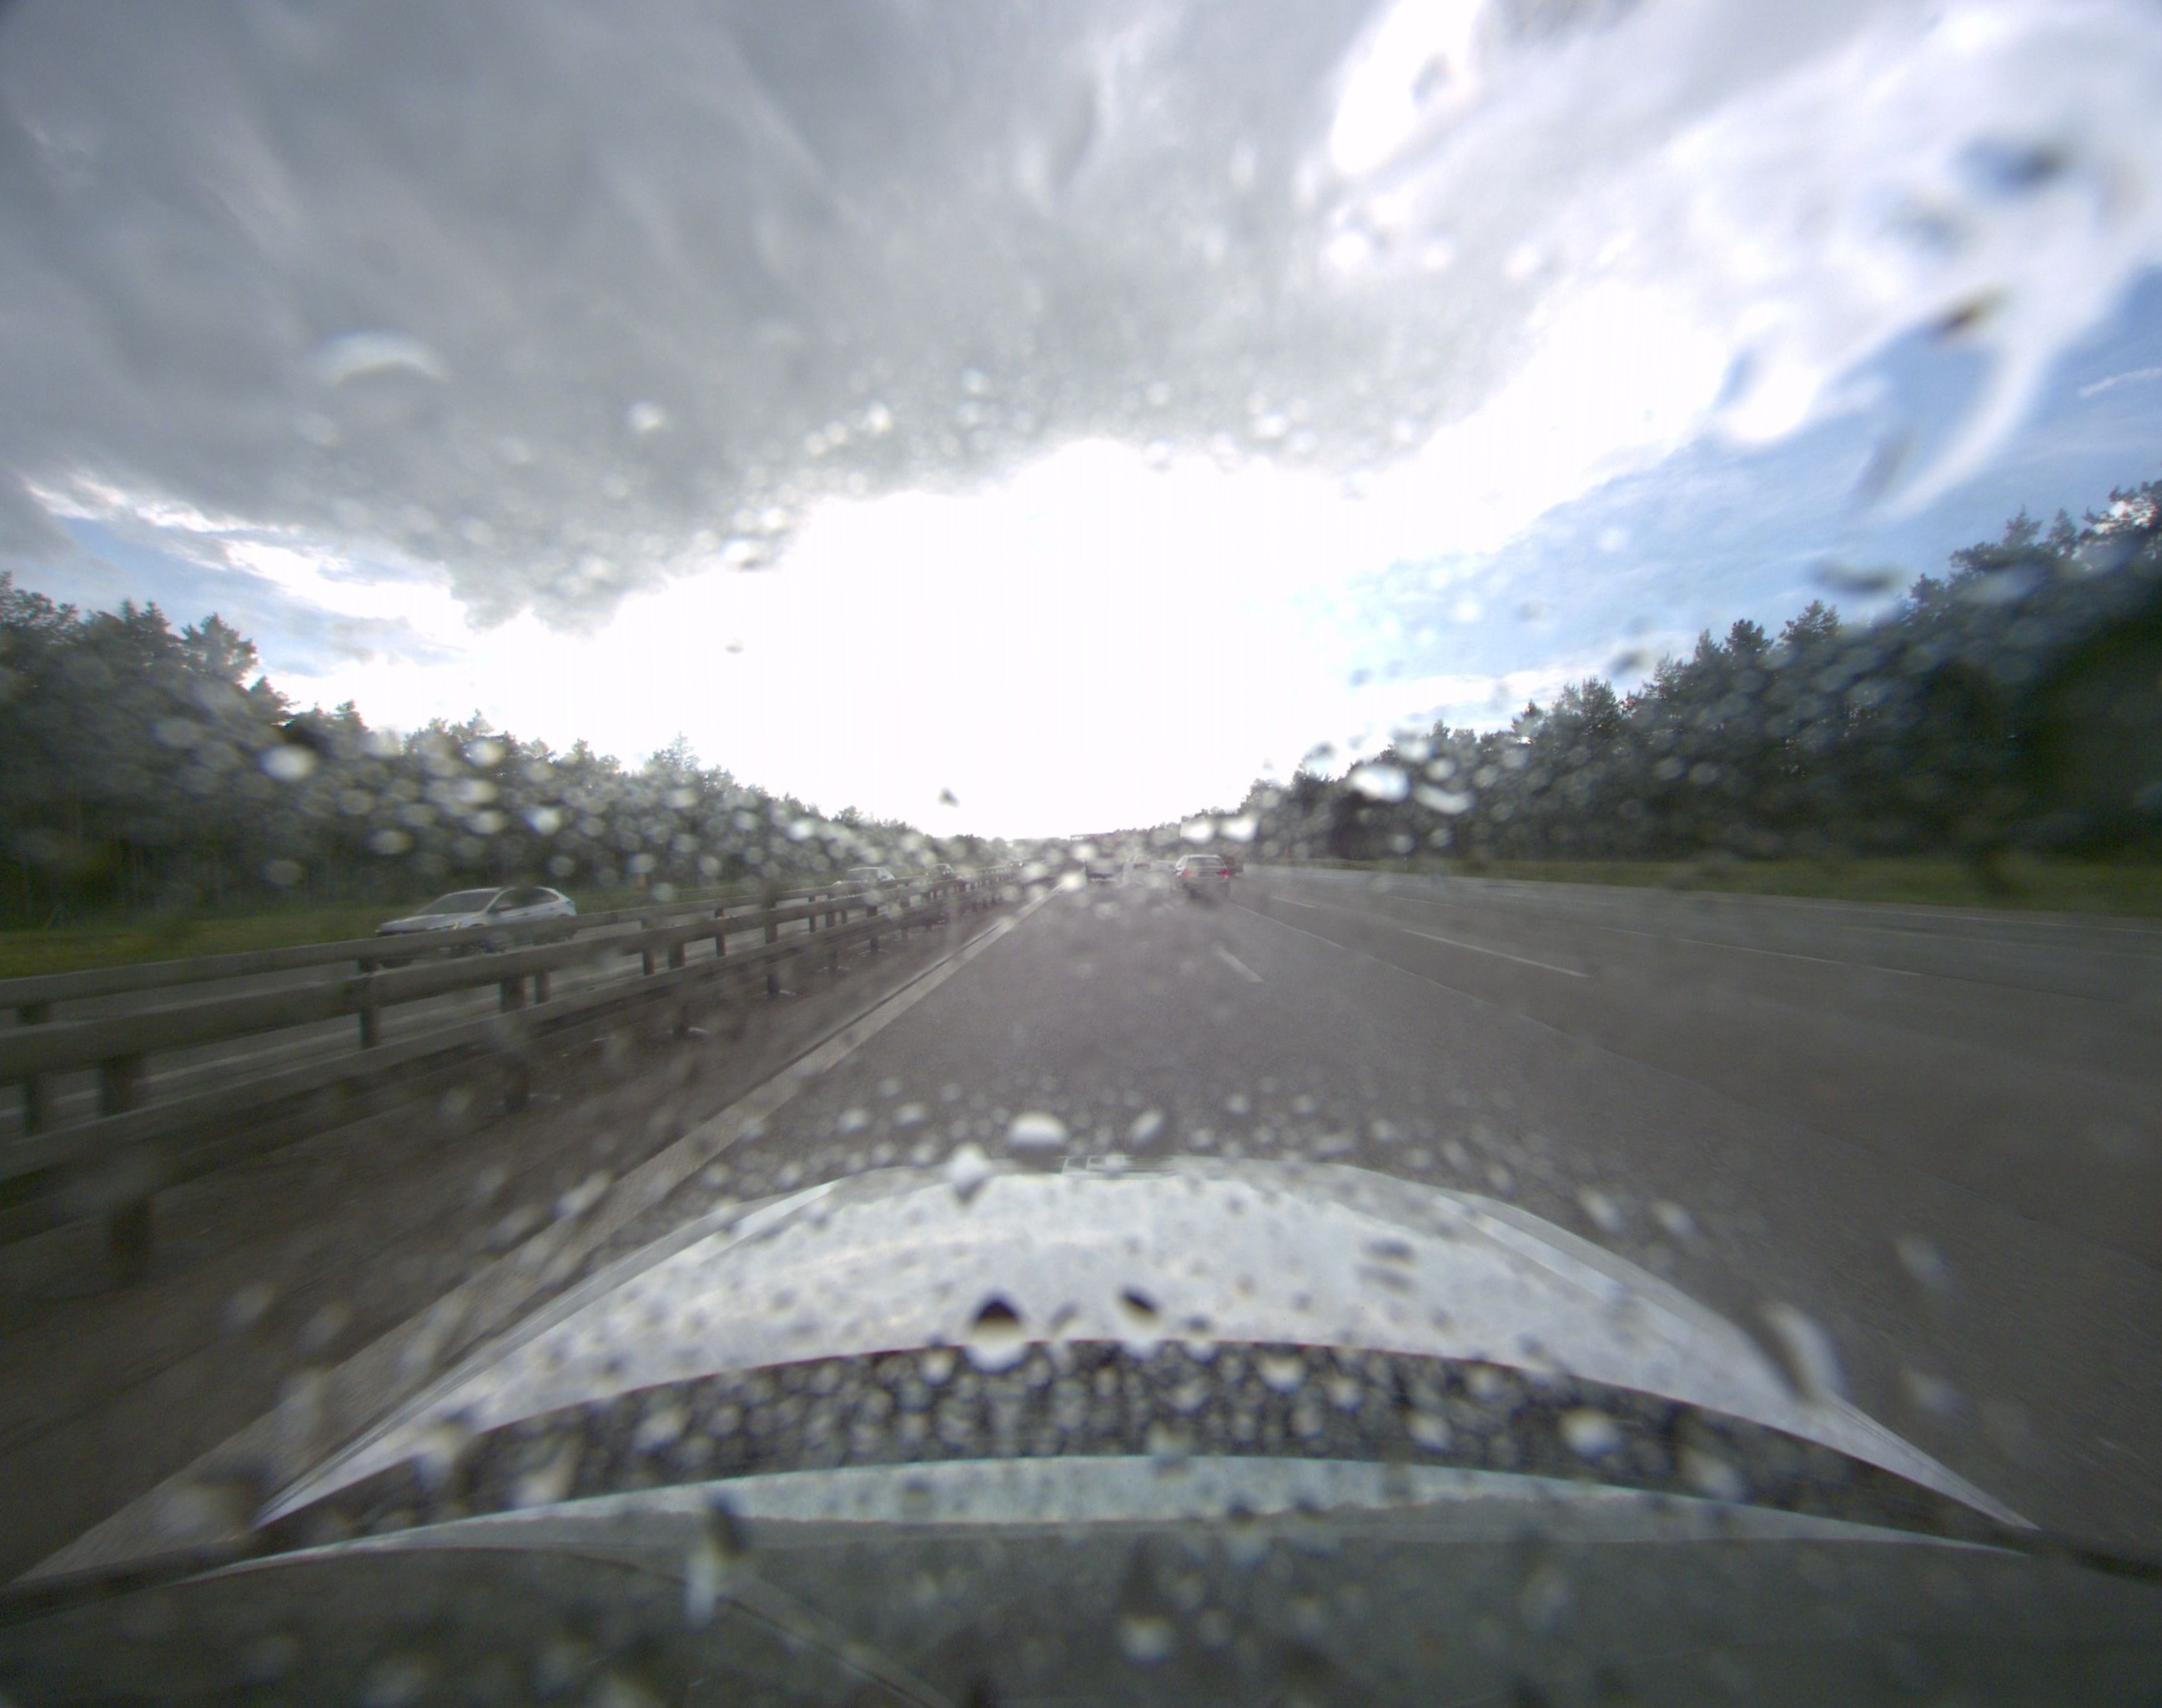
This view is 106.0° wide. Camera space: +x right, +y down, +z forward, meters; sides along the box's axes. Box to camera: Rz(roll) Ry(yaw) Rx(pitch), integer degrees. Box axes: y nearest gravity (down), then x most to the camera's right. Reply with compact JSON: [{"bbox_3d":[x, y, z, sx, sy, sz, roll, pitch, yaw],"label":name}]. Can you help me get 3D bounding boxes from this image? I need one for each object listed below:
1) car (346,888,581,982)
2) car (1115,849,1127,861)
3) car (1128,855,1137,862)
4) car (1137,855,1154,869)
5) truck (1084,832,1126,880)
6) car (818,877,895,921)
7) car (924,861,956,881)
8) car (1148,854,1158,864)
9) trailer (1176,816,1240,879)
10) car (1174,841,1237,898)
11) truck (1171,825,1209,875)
[{"bbox_3d":[-12.470,1.555,16.826,1.722,1.481,4.000,-3,0,0],"label":"car"},{"bbox_3d":[6.816,0.236,139.628,1.900,2.013,4.003,-1,0,3],"label":"car"},{"bbox_3d":[11.710,1.004,184.700,1.735,1.688,3.999,-1,0,-1],"label":"car"},{"bbox_3d":[7.039,0.891,88.991,1.823,1.466,4.004,-1,0,4],"label":"car"},{"bbox_3d":[1.349,0.109,45.548,2.129,2.489,5.315,-1,0,2],"label":"truck"},{"bbox_3d":[-8.597,1.693,31.540,1.722,1.389,4.092,-4,0,0],"label":"car"},{"bbox_3d":[-11.680,1.406,67.670,1.805,1.422,4.237,-4,0,1],"label":"car"},{"bbox_3d":[14.390,1.024,162.744,1.985,2.013,4.003,0,0,3],"label":"car"},{"bbox_3d":[8.893,-0.394,58.685,2.317,4.001,13.407,-1,0,0],"label":"trailer"},{"bbox_3d":[4.502,0.529,30.070,2.067,1.885,5.020,-1,0,6],"label":"car"},{"bbox_3d":[8.827,-0.293,66.473,2.287,3.868,5.390,-1,0,-1],"label":"truck"}]
